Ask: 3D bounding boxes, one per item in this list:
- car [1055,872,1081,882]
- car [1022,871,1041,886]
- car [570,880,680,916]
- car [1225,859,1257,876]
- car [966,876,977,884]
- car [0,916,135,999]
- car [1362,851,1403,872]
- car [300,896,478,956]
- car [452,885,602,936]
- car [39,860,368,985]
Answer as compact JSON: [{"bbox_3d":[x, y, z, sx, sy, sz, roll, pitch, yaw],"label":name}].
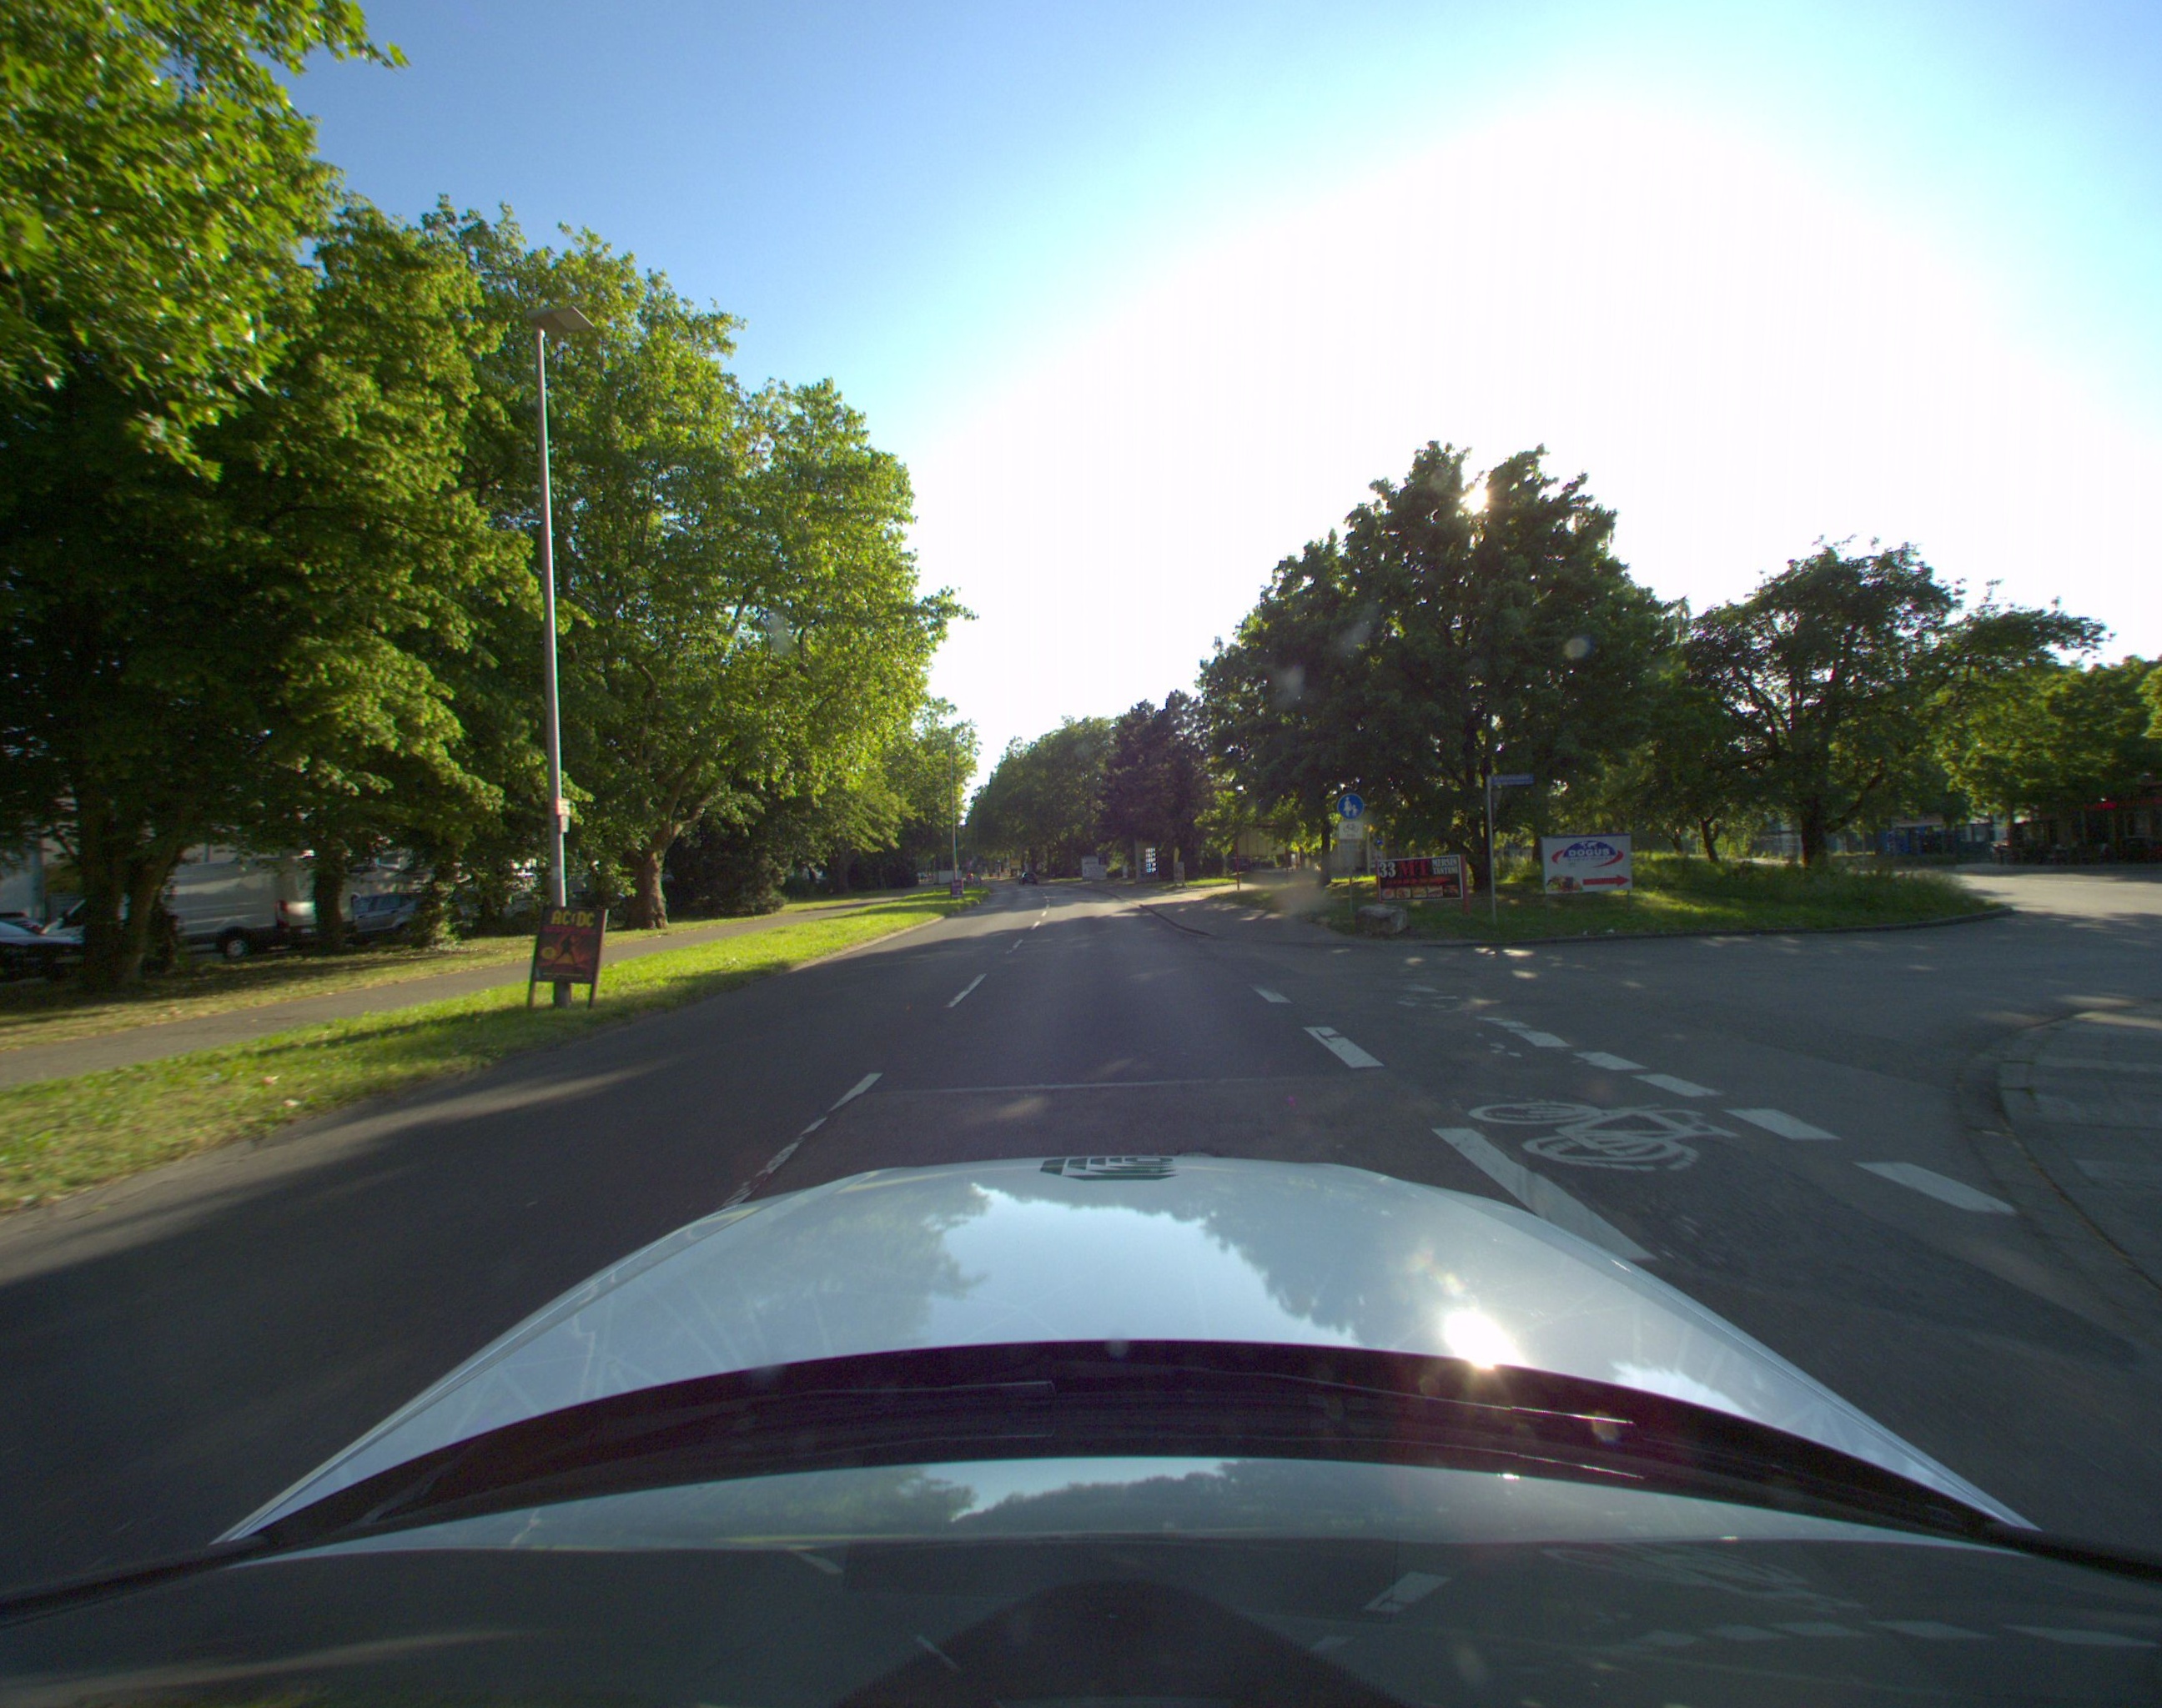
[{"bbox_3d":[-2.098,3.684,130.149,3.987,1.443,1.754,-3,-1,-10],"label":"car"},{"bbox_3d":[-5.715,2.862,94.902,1.832,1.605,3.864,-2,-1,2],"label":"car"},{"bbox_3d":[-21.122,2.034,37.854,3.982,1.508,1.908,-1,-1,-6],"label":"car"},{"bbox_3d":[14.482,1.267,73.897,1.837,1.420,3.995,-3,-1,-3],"label":"car"},{"bbox_3d":[-28.275,6.669,210.052,1.984,2.014,4.004,-3,-1,4],"label":"car"},{"bbox_3d":[-20.847,2.014,15.507,3.474,1.382,1.690,-3,-1,-4],"label":"car"},{"bbox_3d":[27.847,0.682,75.344,1.810,1.728,4.389,-3,-2,-5],"label":"car"},{"bbox_3d":[-20.912,2.158,24.738,3.719,1.500,1.811,-3,-1,-4],"label":"car"},{"bbox_3d":[-20.616,2.067,30.486,4.121,1.596,1.948,-3,-1,-8],"label":"car"},{"bbox_3d":[-21.318,1.604,20.001,5.417,2.501,2.184,-4,-1,-3],"label":"car"}]
